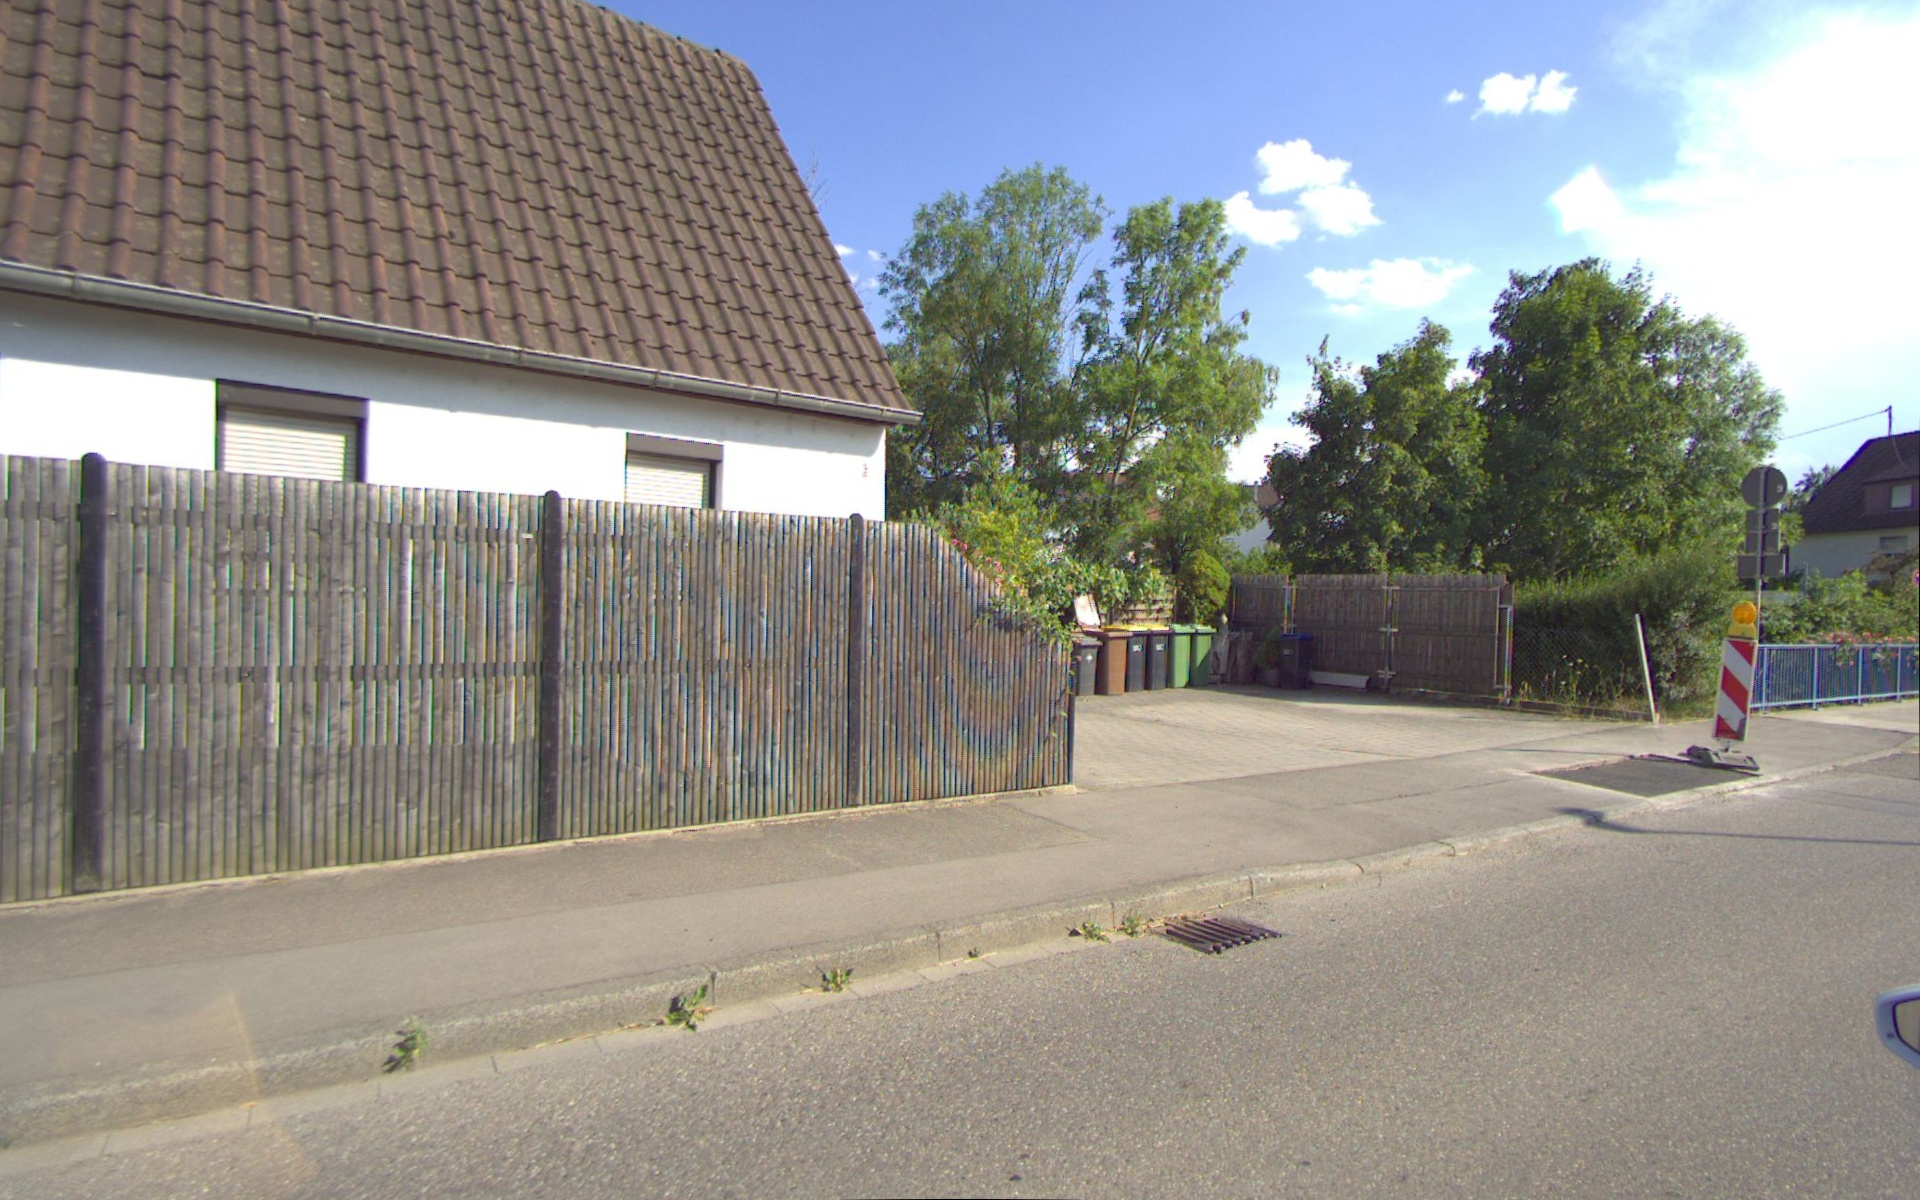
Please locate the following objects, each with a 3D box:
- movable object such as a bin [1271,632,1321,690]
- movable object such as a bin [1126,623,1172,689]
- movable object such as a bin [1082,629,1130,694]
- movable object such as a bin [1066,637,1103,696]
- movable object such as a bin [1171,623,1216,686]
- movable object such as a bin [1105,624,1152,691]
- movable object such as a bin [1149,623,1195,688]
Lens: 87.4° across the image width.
[{"bbox_3d":[5.833,1.047,17.442,0.586,0.930,0.588,-1,2,-32],"label":"movable object such as a bin"},{"bbox_3d":[3.225,0.946,17.137,0.545,1.064,0.543,-1,2,-38],"label":"movable object such as a bin"},{"bbox_3d":[2.365,0.984,16.251,0.545,1.003,0.543,-1,2,-38],"label":"movable object such as a bin"},{"bbox_3d":[1.970,1.043,15.930,0.368,0.894,0.460,-1,2,-38],"label":"movable object such as a bin"},{"bbox_3d":[4.157,0.951,17.886,0.587,1.064,0.543,-1,2,-38],"label":"movable object such as a bin"},{"bbox_3d":[2.807,0.953,16.758,0.545,1.064,0.543,-1,2,-38],"label":"movable object such as a bin"},{"bbox_3d":[3.694,0.955,17.501,0.587,1.064,0.543,-1,2,-38],"label":"movable object such as a bin"}]
